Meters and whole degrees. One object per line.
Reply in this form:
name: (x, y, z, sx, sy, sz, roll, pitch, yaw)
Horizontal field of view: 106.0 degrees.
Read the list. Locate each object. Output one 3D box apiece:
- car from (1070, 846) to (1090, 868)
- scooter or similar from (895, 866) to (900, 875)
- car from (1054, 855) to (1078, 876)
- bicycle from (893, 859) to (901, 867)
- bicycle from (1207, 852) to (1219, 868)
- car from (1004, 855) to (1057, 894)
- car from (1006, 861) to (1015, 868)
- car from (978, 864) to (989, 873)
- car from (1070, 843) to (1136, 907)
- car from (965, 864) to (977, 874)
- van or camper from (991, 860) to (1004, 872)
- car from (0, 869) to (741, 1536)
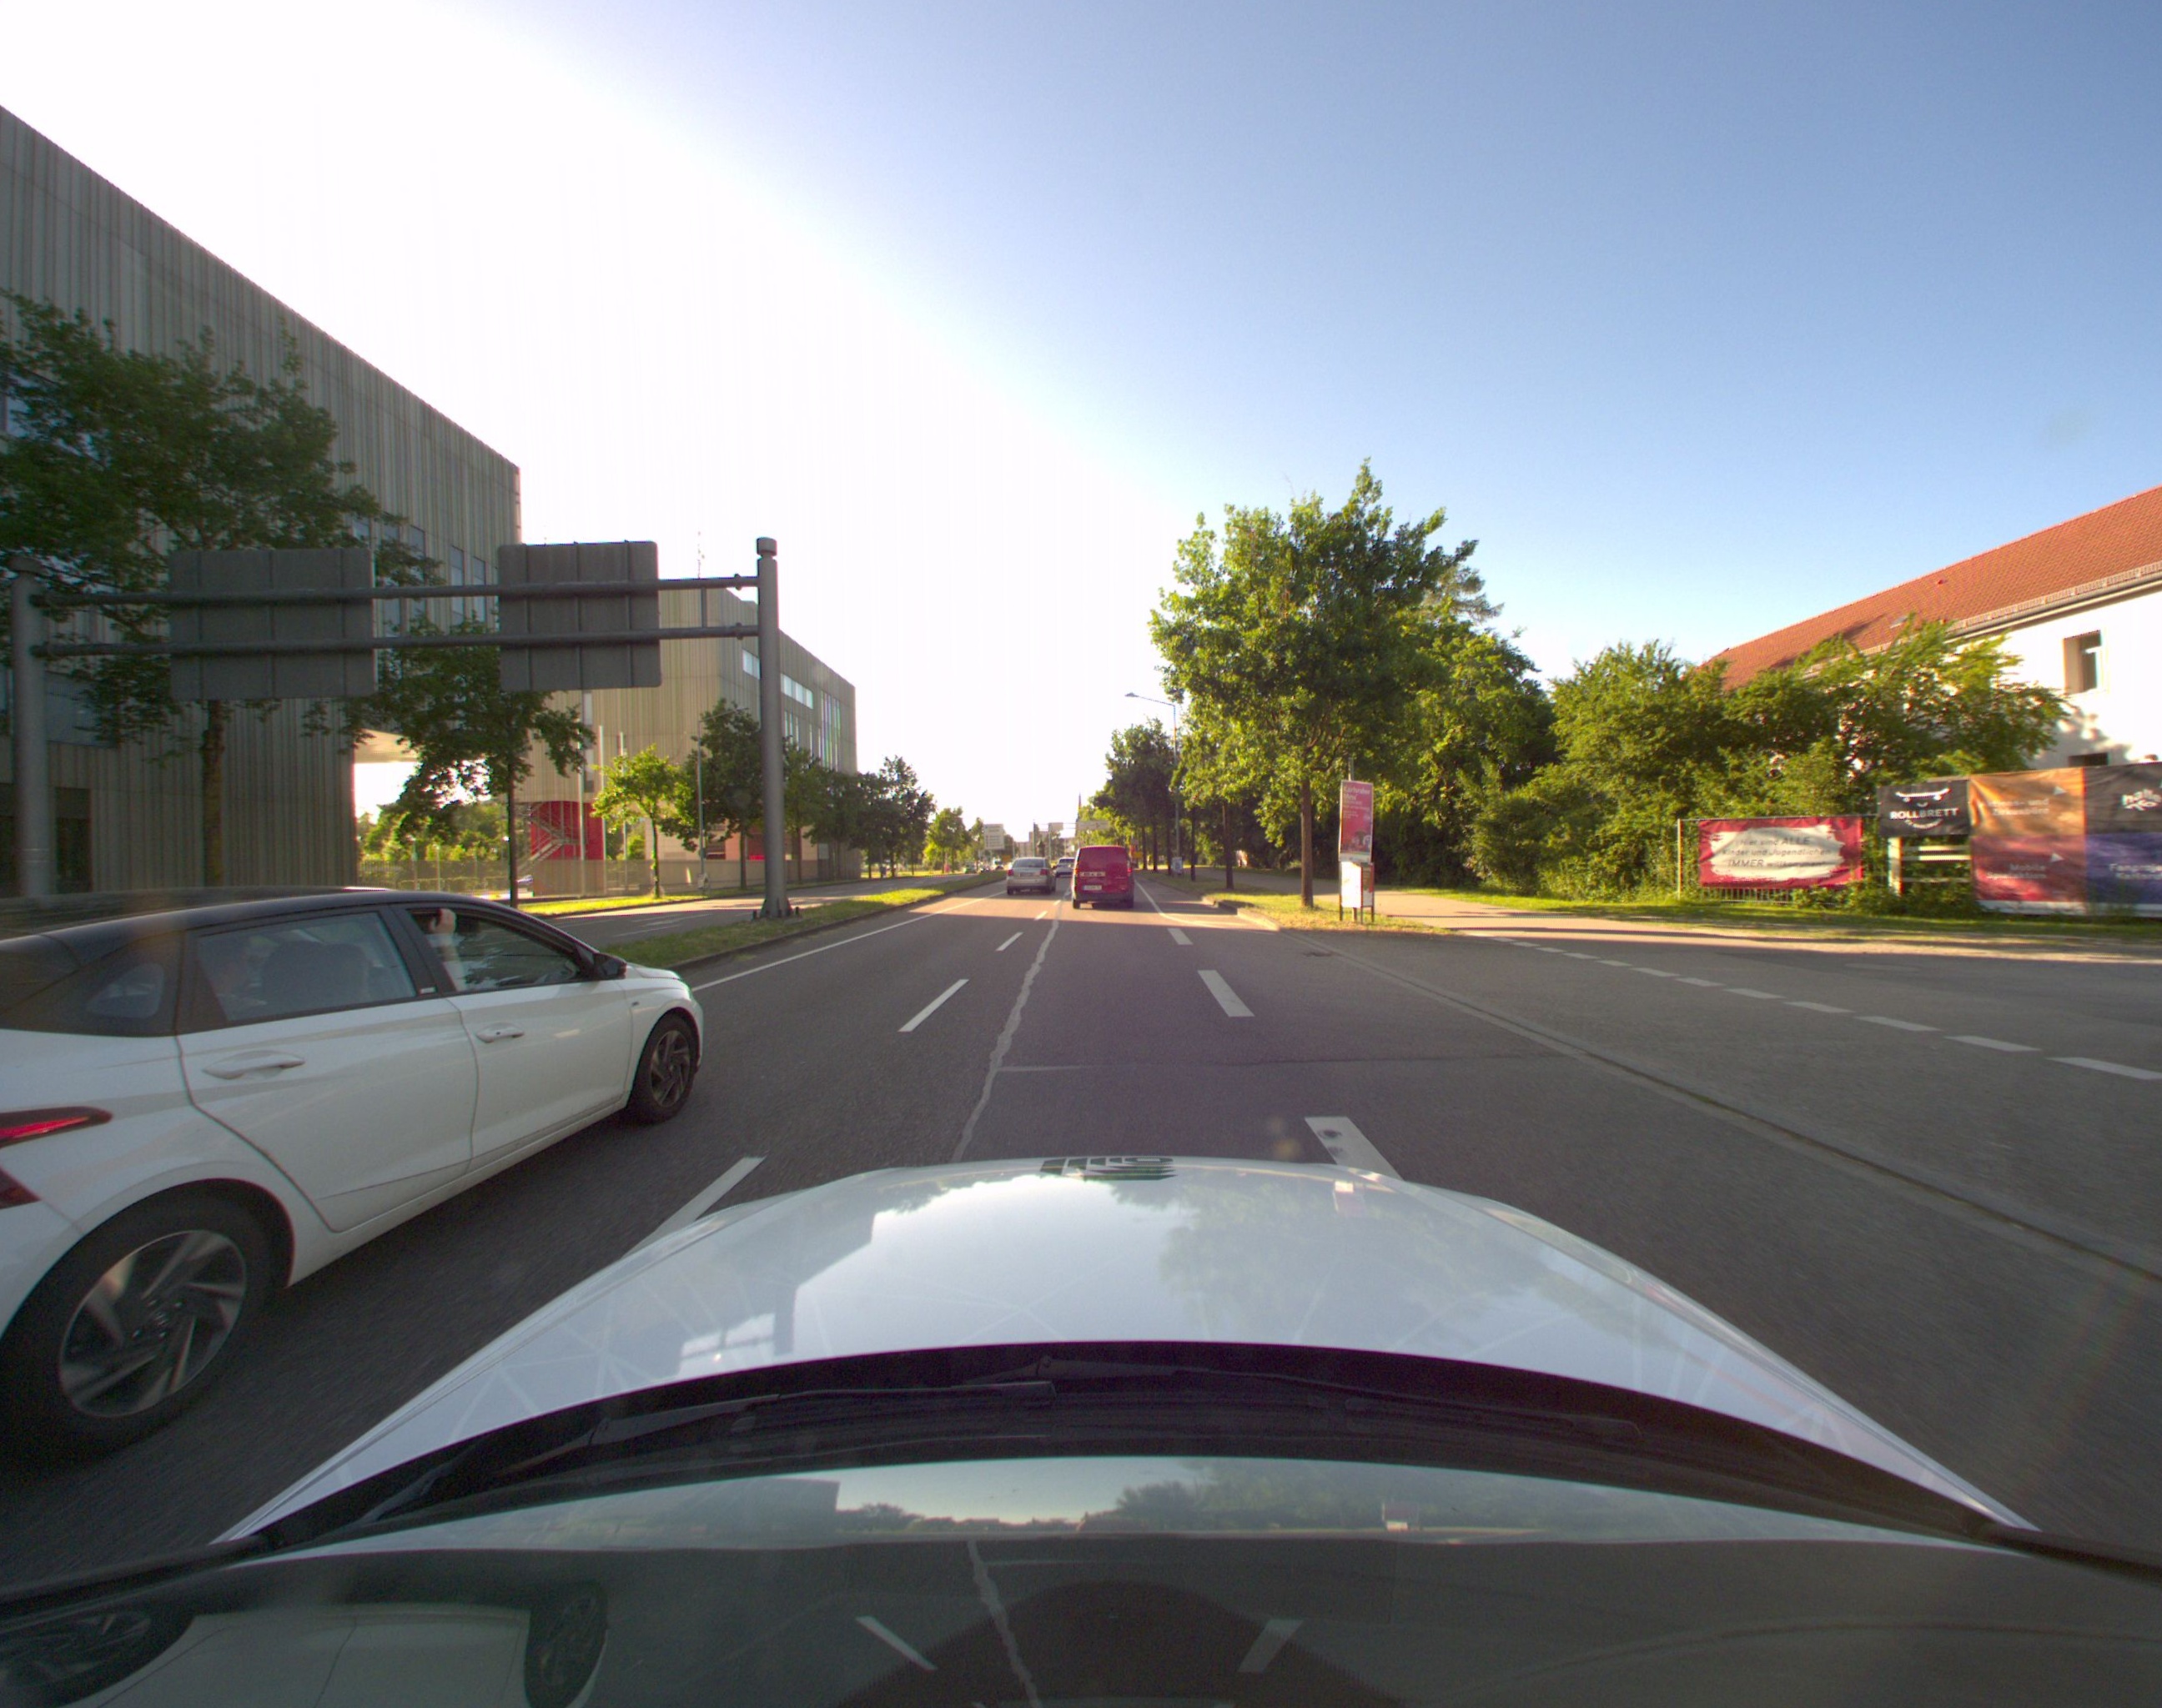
car: (-0.114, 0.285, 72.435, 1.656, 1.856, 3.558, -2, 0, 0)
scooter or similar: (-24.270, 2.179, 107.654, 0.230, 1.149, 1.327, -2, -1, 0)
car: (-1.060, 0.832, 58.775, 1.656, 1.398, 3.558, -2, 0, 0)
bicycle: (-24.814, 1.259, 109.948, 0.568, 1.003, 2.095, -2, -1, -1)
bicycle: (9.589, 0.410, 59.104, 0.769, 1.131, 1.712, -2, 0, 8)
car: (-1.974, 0.781, 33.136, 1.835, 1.456, 4.162, -1, 0, 0)
car: (-15.807, 2.284, 183.156, 1.684, 1.476, 4.046, -2, 0, -2)
car: (-17.671, 2.642, 148.211, 1.546, 1.508, 4.024, -2, 0, -1)
car: (0.601, 0.584, 24.467, 1.800, 1.759, 4.005, -1, 0, 0)
car: (-16.646, 2.262, 123.575, 1.442, 1.436, 3.457, -2, 0, -1)
van or camper: (-18.365, 2.680, 179.604, 1.987, 2.368, 5.991, -4, 0, 0)
car: (-3.258, 0.832, 3.457, 1.771, 1.409, 4.076, -1, 0, 2)
